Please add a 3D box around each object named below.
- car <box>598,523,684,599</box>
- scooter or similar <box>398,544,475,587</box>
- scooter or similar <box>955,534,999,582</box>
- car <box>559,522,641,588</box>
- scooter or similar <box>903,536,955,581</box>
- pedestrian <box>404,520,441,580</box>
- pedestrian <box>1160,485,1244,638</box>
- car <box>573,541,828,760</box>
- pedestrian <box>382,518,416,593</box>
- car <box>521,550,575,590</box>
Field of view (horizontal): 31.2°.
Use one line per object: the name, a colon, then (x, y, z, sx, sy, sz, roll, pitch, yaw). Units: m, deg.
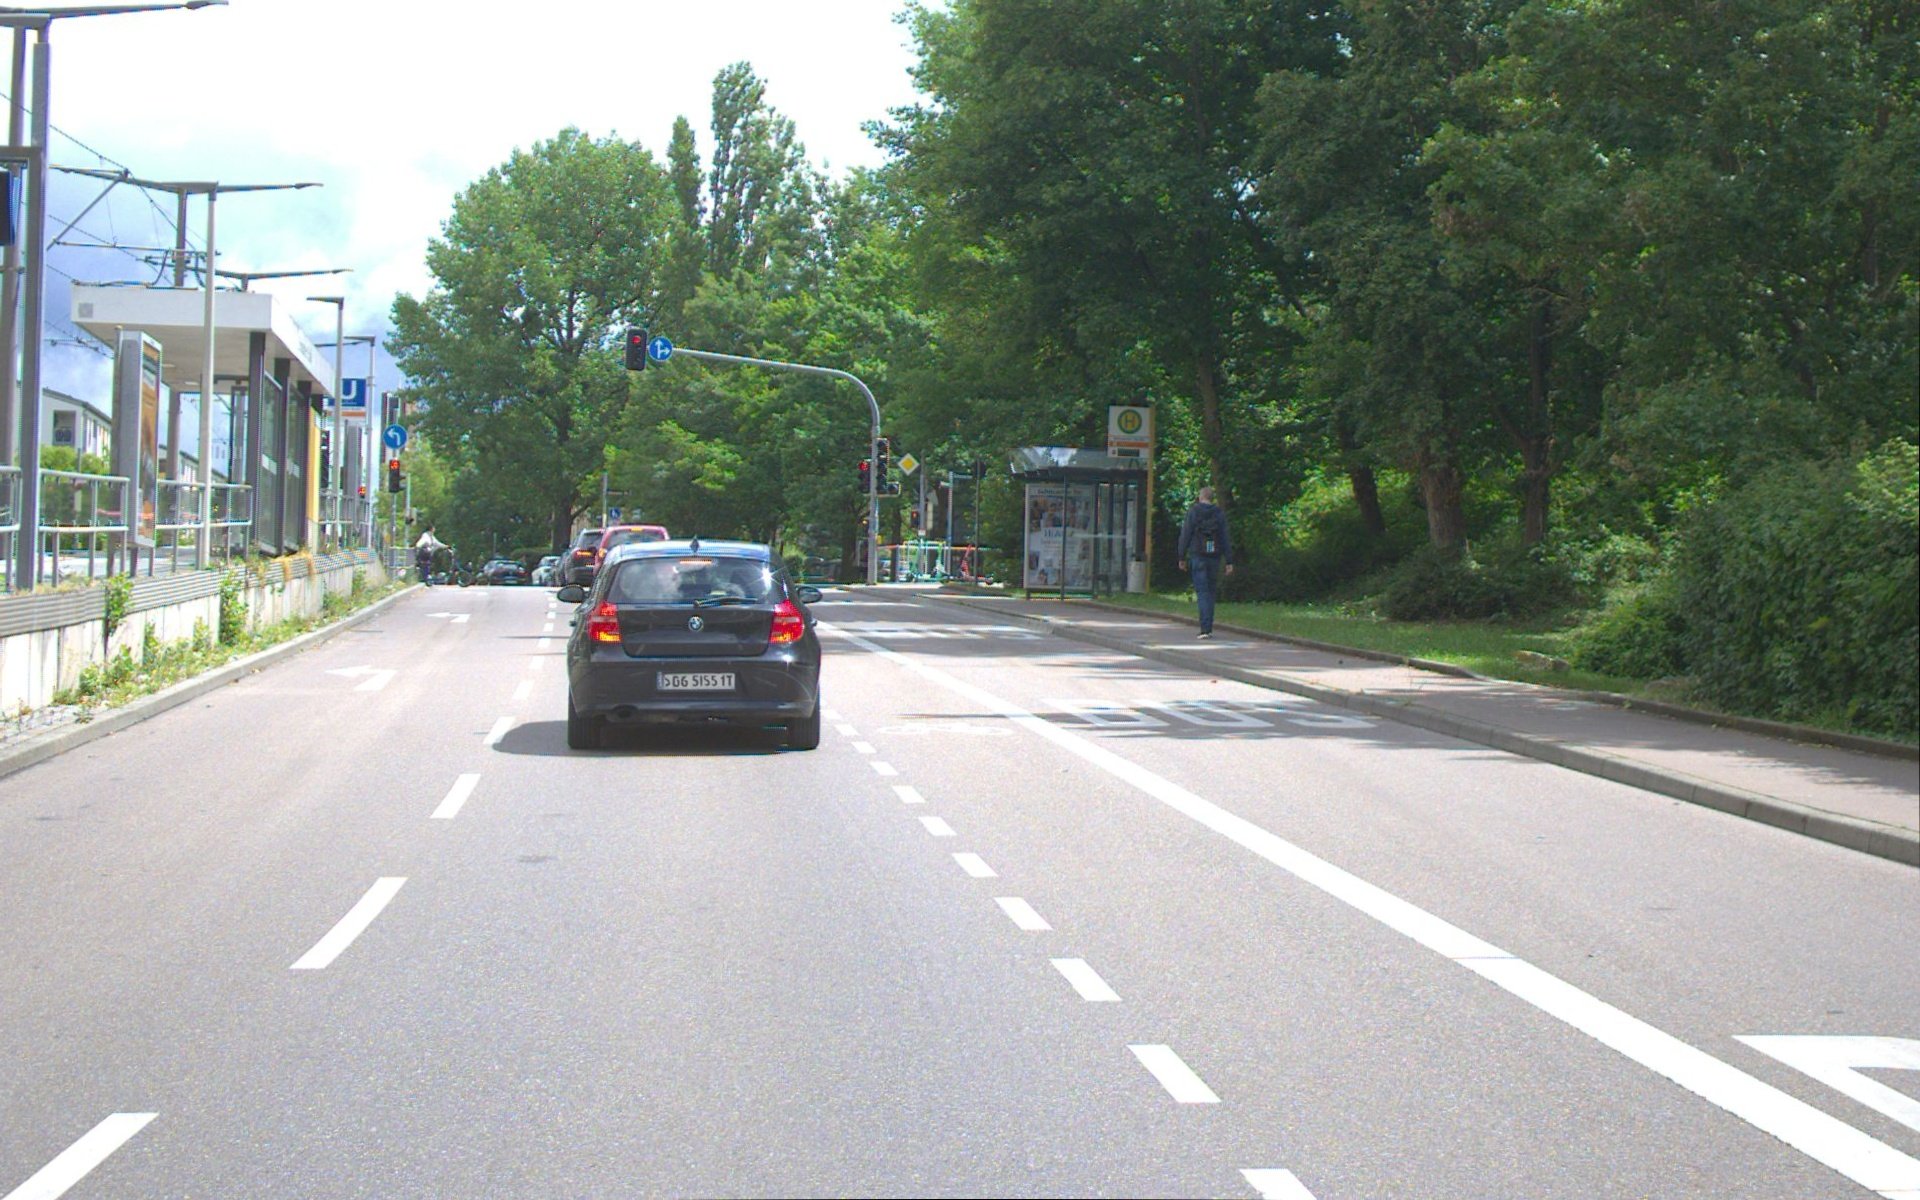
car: (-6.151, -0.761, 66.137, 1.594, 1.414, 3.518, 1, 1, -6)
scooter or similar: (-12.679, -0.835, 83.240, 1.780, 1.047, 0.410, 0, 1, -24)
scooter or similar: (0.453, -1.093, 90.341, 1.106, 1.253, 0.332, 0, 1, -18)
car: (-7.986, -1.013, 76.093, 1.654, 1.414, 3.518, 1, 1, -8)
scooter or similar: (-0.814, -1.080, 89.454, 1.287, 1.185, 0.385, 0, 1, -22)
pedestrian: (-13.080, -1.214, 83.684, 0.865, 1.437, 0.799, 0, 1, -8)
pedestrian: (3.055, -0.490, 43.565, 0.801, 1.889, 1.271, 2, 1, -5)
car: (-1.844, 0.304, 24.324, 1.654, 1.414, 3.517, 1, 1, -5)
pedestrian: (-12.348, -0.984, 75.639, 0.701, 1.627, 0.638, 0, 1, -7)
car: (-15.404, -1.134, 128.683, 1.654, 1.414, 3.517, 2, 1, -2)
